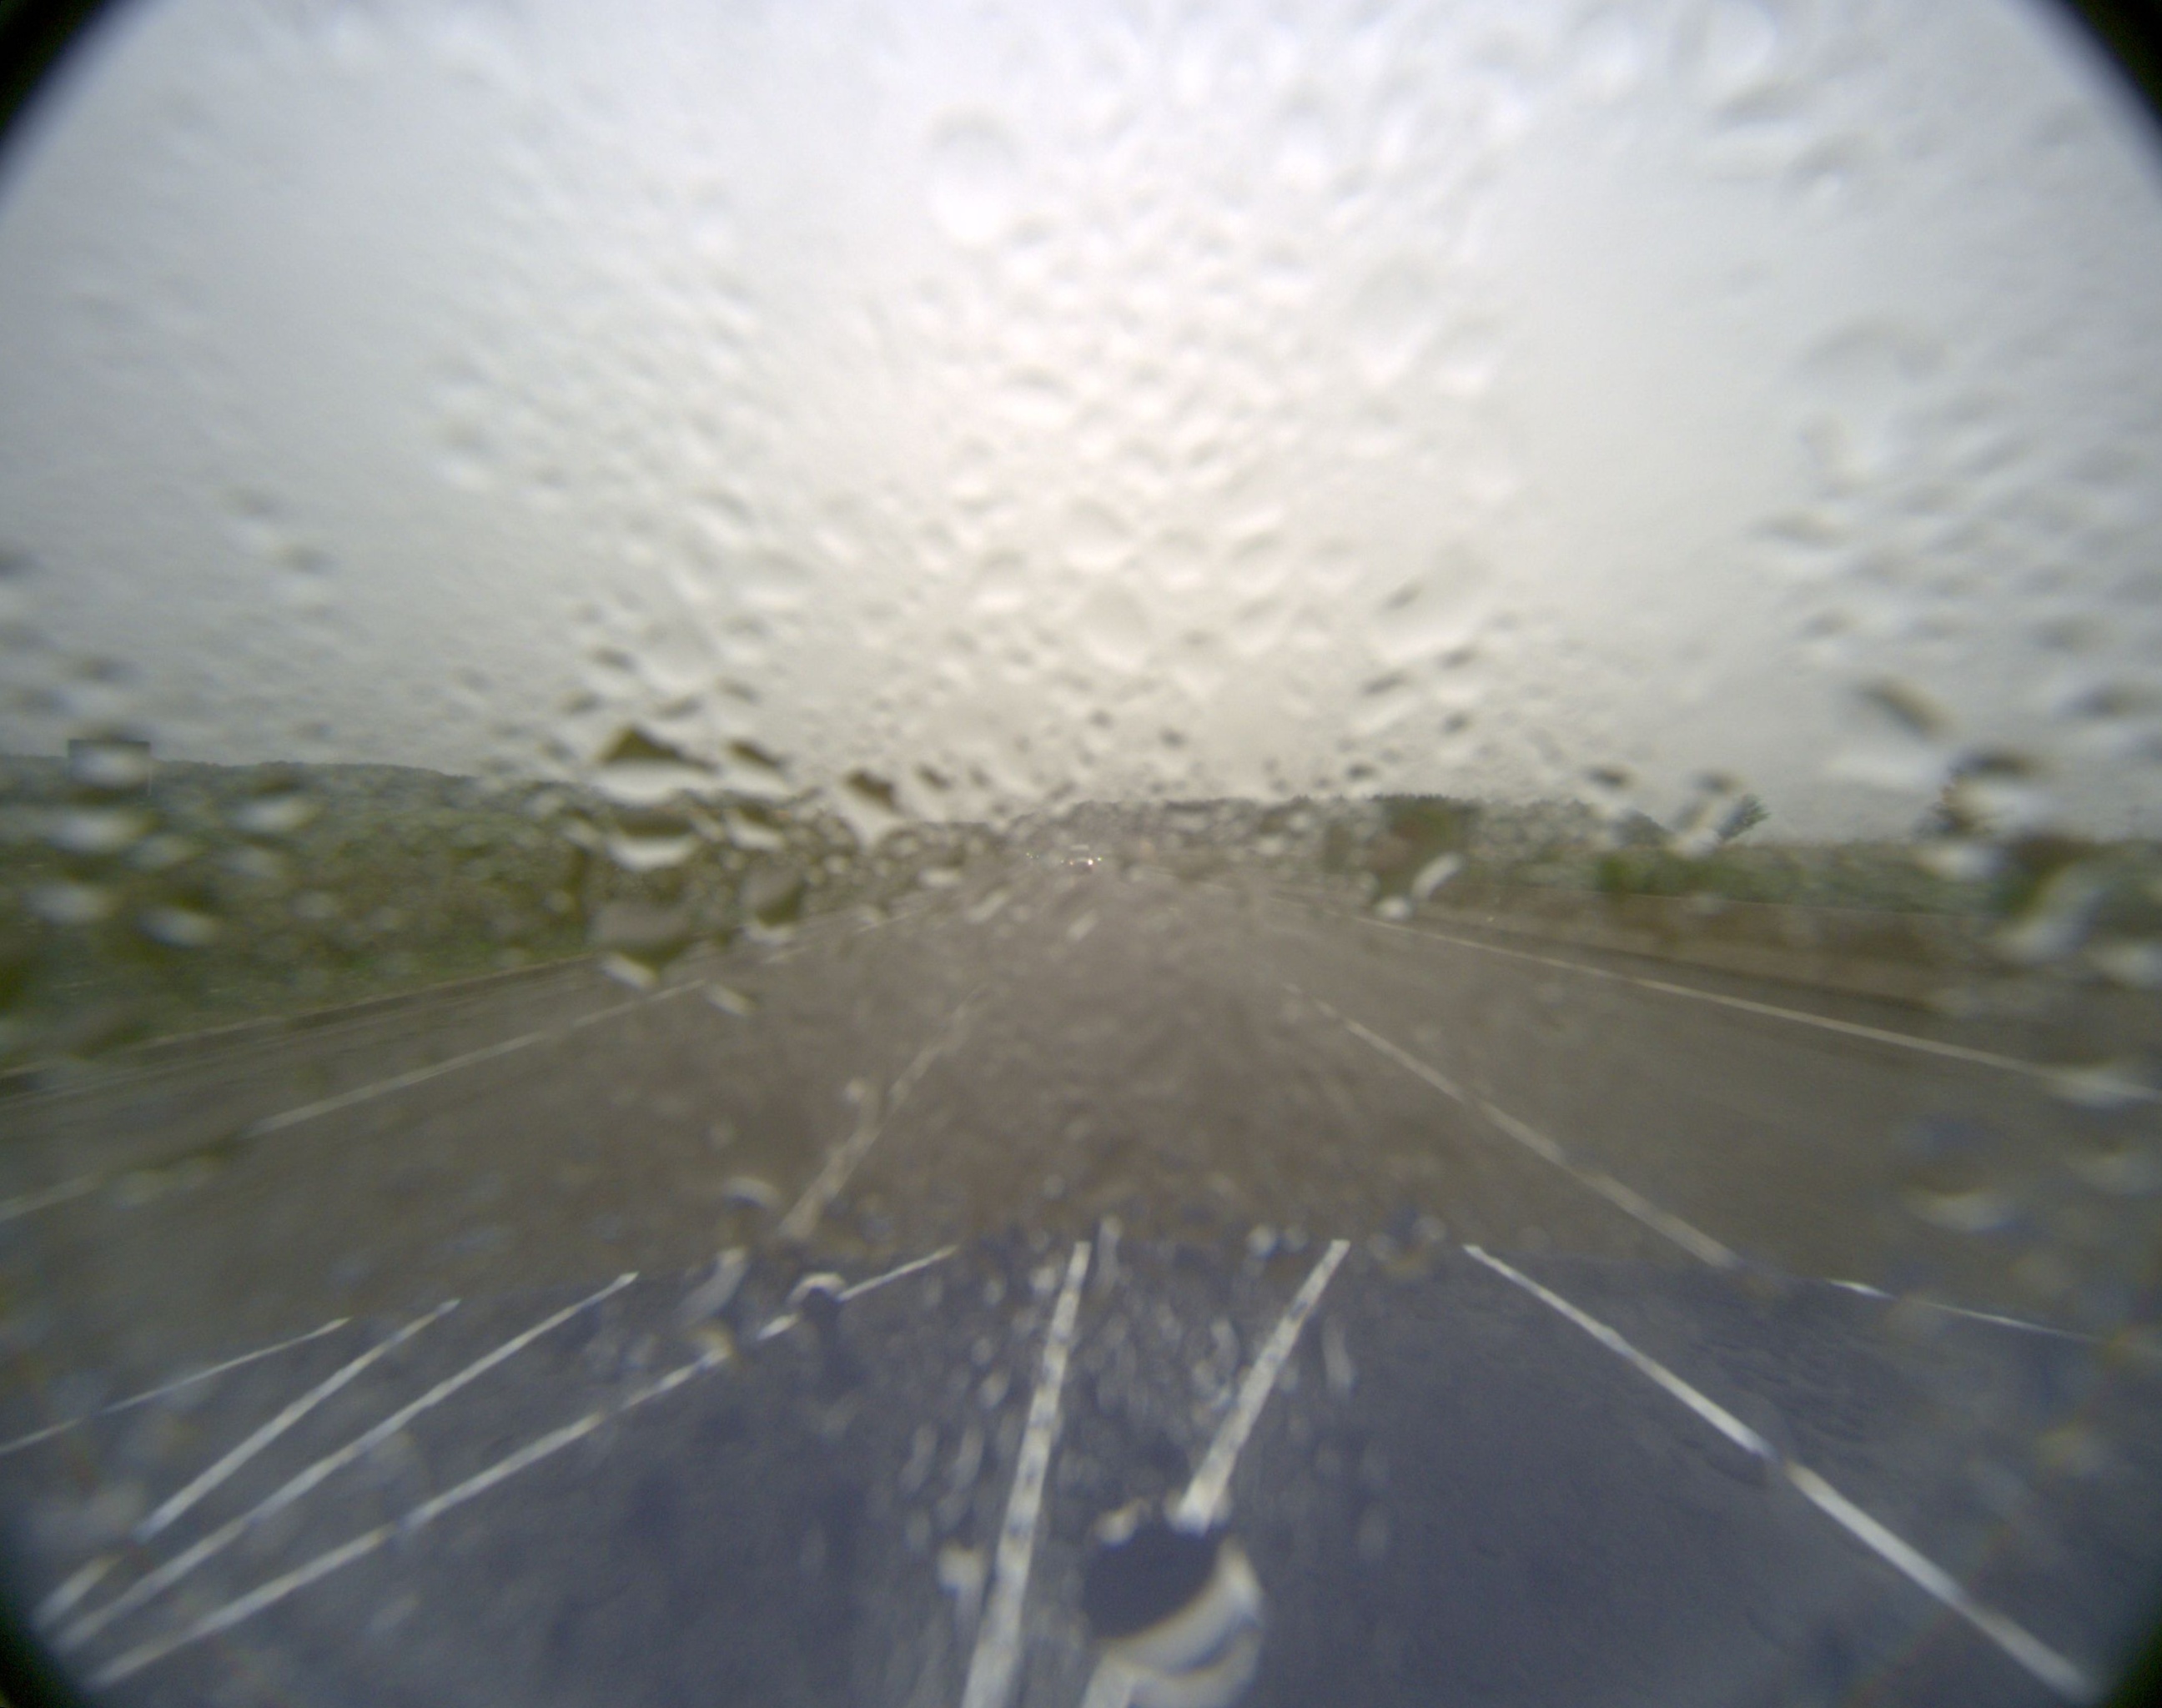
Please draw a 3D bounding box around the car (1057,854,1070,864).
[{"bbox_3d":[-2.817,0.734,119.877,1.999,1.521,3.999,-2,0,-3],"label":"car"}]

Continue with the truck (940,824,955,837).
[{"bbox_3d":[-27.487,-4.820,156.602,2.431,2.553,5.077,-2,1,-3],"label":"truck"}]

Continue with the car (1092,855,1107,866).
[{"bbox_3d":[2.762,0.996,116.196,1.999,1.608,3.999,-2,0,-3],"label":"car"}]

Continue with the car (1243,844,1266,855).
[{"bbox_3d":[19.546,-0.491,85.735,1.650,1.250,3.798,-2,0,0],"label":"car"}]

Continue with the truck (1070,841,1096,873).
[{"bbox_3d":[0.230,0.190,69.708,1.998,2.699,7.999,-2,1,2],"label":"truck"}]

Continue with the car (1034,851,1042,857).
[{"bbox_3d":[-11.898,0.026,208.979,1.999,1.543,3.998,-2,0,-5],"label":"car"}]

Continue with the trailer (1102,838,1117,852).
[{"bbox_3d":[8.783,-2.766,239.548,3.395,3.995,13.884,-2,0,-3],"label":"trailer"}]
